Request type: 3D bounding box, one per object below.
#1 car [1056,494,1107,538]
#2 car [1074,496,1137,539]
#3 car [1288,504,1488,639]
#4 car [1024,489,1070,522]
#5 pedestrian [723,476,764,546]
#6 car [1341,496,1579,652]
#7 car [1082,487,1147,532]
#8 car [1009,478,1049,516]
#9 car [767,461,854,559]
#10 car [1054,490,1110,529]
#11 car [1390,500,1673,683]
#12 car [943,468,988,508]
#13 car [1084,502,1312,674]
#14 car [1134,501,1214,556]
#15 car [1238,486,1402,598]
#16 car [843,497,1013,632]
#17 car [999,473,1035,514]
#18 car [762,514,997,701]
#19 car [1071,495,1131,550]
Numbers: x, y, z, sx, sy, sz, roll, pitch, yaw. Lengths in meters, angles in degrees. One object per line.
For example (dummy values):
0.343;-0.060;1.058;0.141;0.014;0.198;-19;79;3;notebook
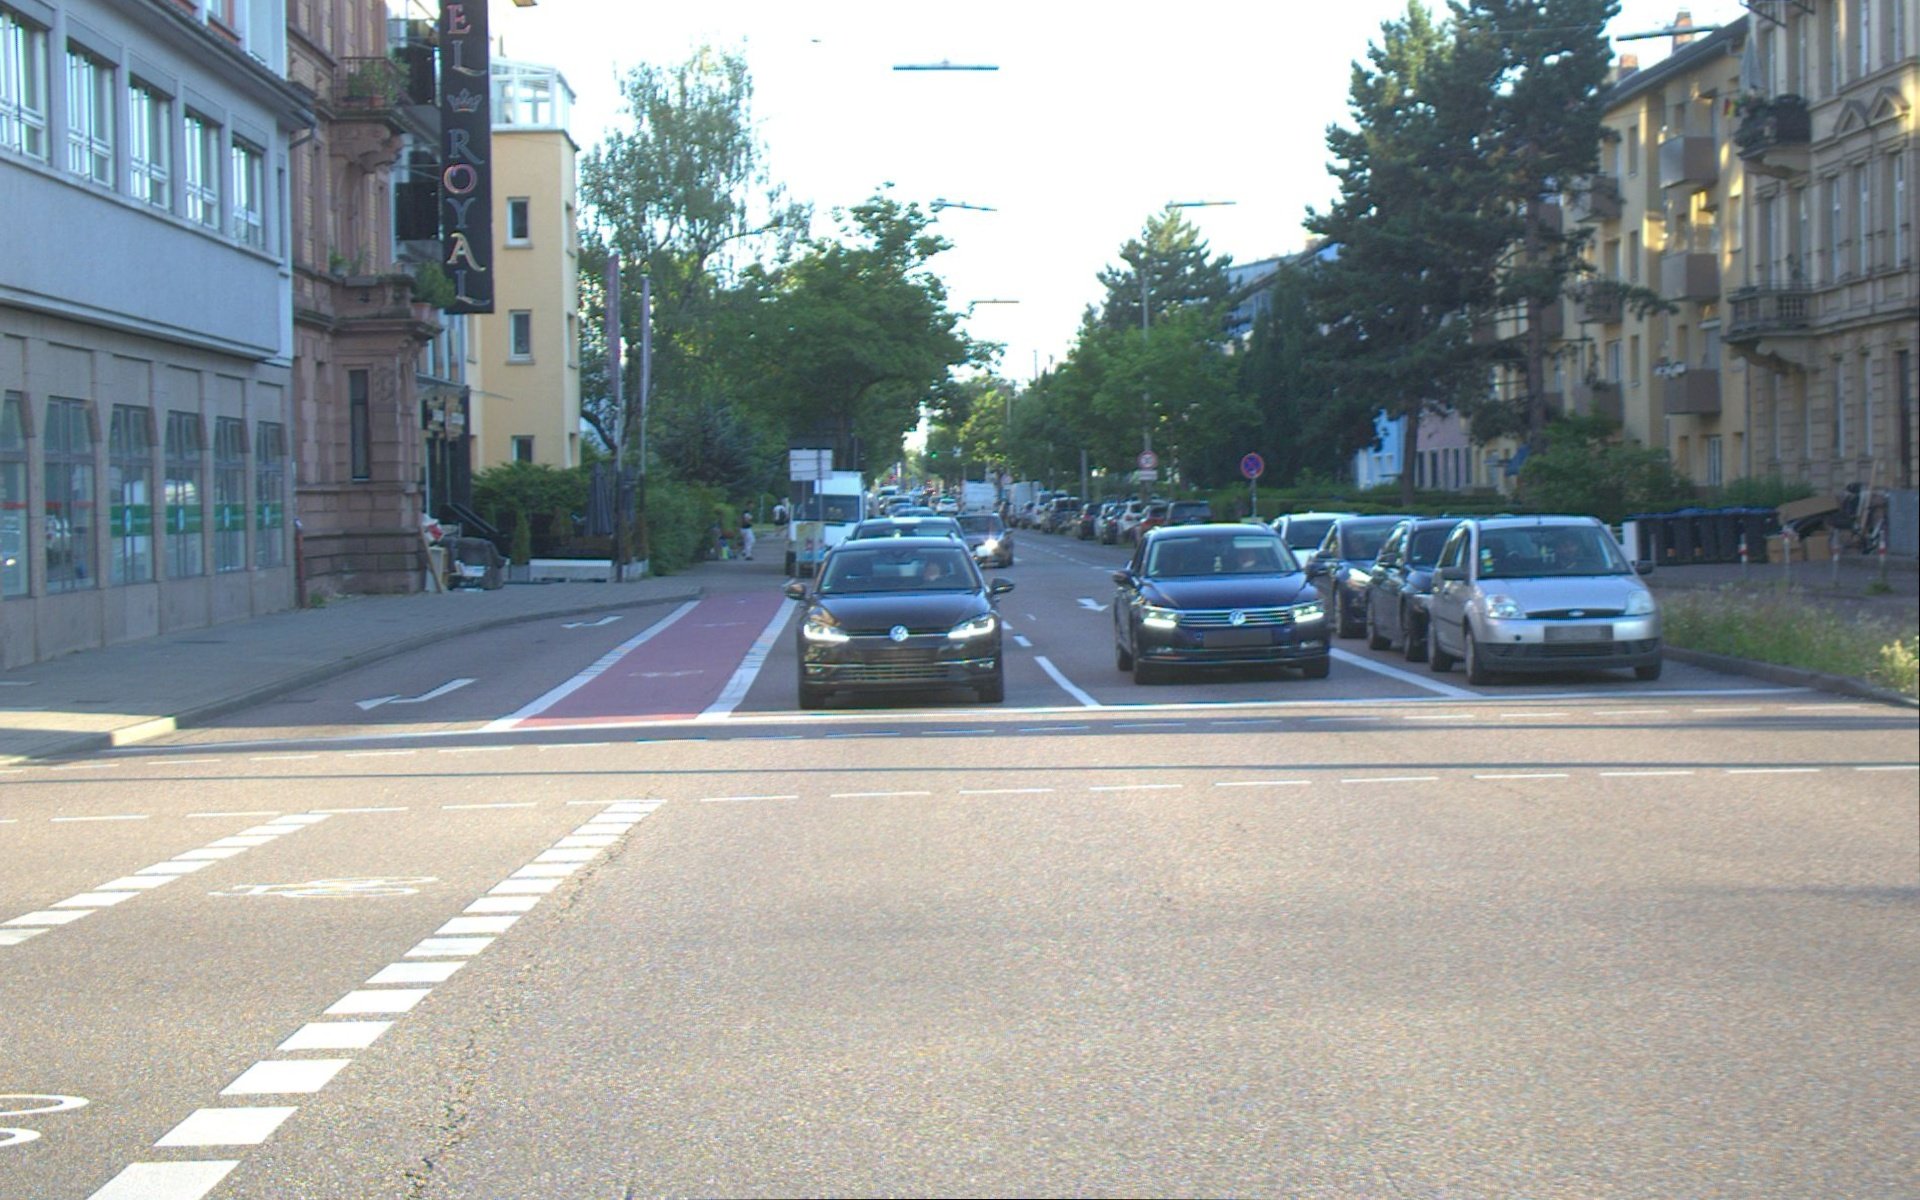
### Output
5.298;-3.679;150.105;1.993;1.827;4.221;-1;2;-1;car
5.290;-3.032;125.470;1.993;1.512;4.221;-1;2;-1;car
5.105;-0.380;41.460;1.993;1.481;4.000;-1;2;2;car
4.073;-4.443;161.559;1.993;1.512;4.221;-1;2;-1;car
-6.348;-2.612;100.739;1.023;2.006;0.945;-1;2;-15;pedestrian
5.172;-0.316;36.021;1.993;1.481;4.000;-1;2;2;car
5.391;-3.185;120.474;1.993;1.512;4.221;-1;2;-1;car
3.756;-5.657;187.965;1.993;2.043;4.221;-1;2;-1;car
-3.625;-2.228;84.197;1.993;2.316;4.221;-1;2;-1;car
4.886;-3.649;138.092;1.993;1.512;4.221;-1;2;-1;car
5.106;-0.126;31.206;1.993;1.481;4.000;-1;2;2;car
0.326;-6.770;207.574;2.617;2.368;5.256;-1;2;-1;car
2.209;-0.162;32.900;1.993;1.481;4.000;-1;2;2;car
6.269;-2.121;100.915;1.993;1.512;4.221;-1;2;-1;car
5.077;-0.852;48.899;1.993;1.481;4.000;-1;2;2;car
-0.392;-0.483;42.717;1.993;1.526;4.001;-1;2;0;car
3.343;-6.328;203.516;1.993;2.368;4.001;-1;2;-1;car
-0.648;0.011;30.555;1.880;1.481;4.000;-1;2;2;car
5.308;-2.944;130.071;1.993;1.990;4.221;-1;2;-1;car
